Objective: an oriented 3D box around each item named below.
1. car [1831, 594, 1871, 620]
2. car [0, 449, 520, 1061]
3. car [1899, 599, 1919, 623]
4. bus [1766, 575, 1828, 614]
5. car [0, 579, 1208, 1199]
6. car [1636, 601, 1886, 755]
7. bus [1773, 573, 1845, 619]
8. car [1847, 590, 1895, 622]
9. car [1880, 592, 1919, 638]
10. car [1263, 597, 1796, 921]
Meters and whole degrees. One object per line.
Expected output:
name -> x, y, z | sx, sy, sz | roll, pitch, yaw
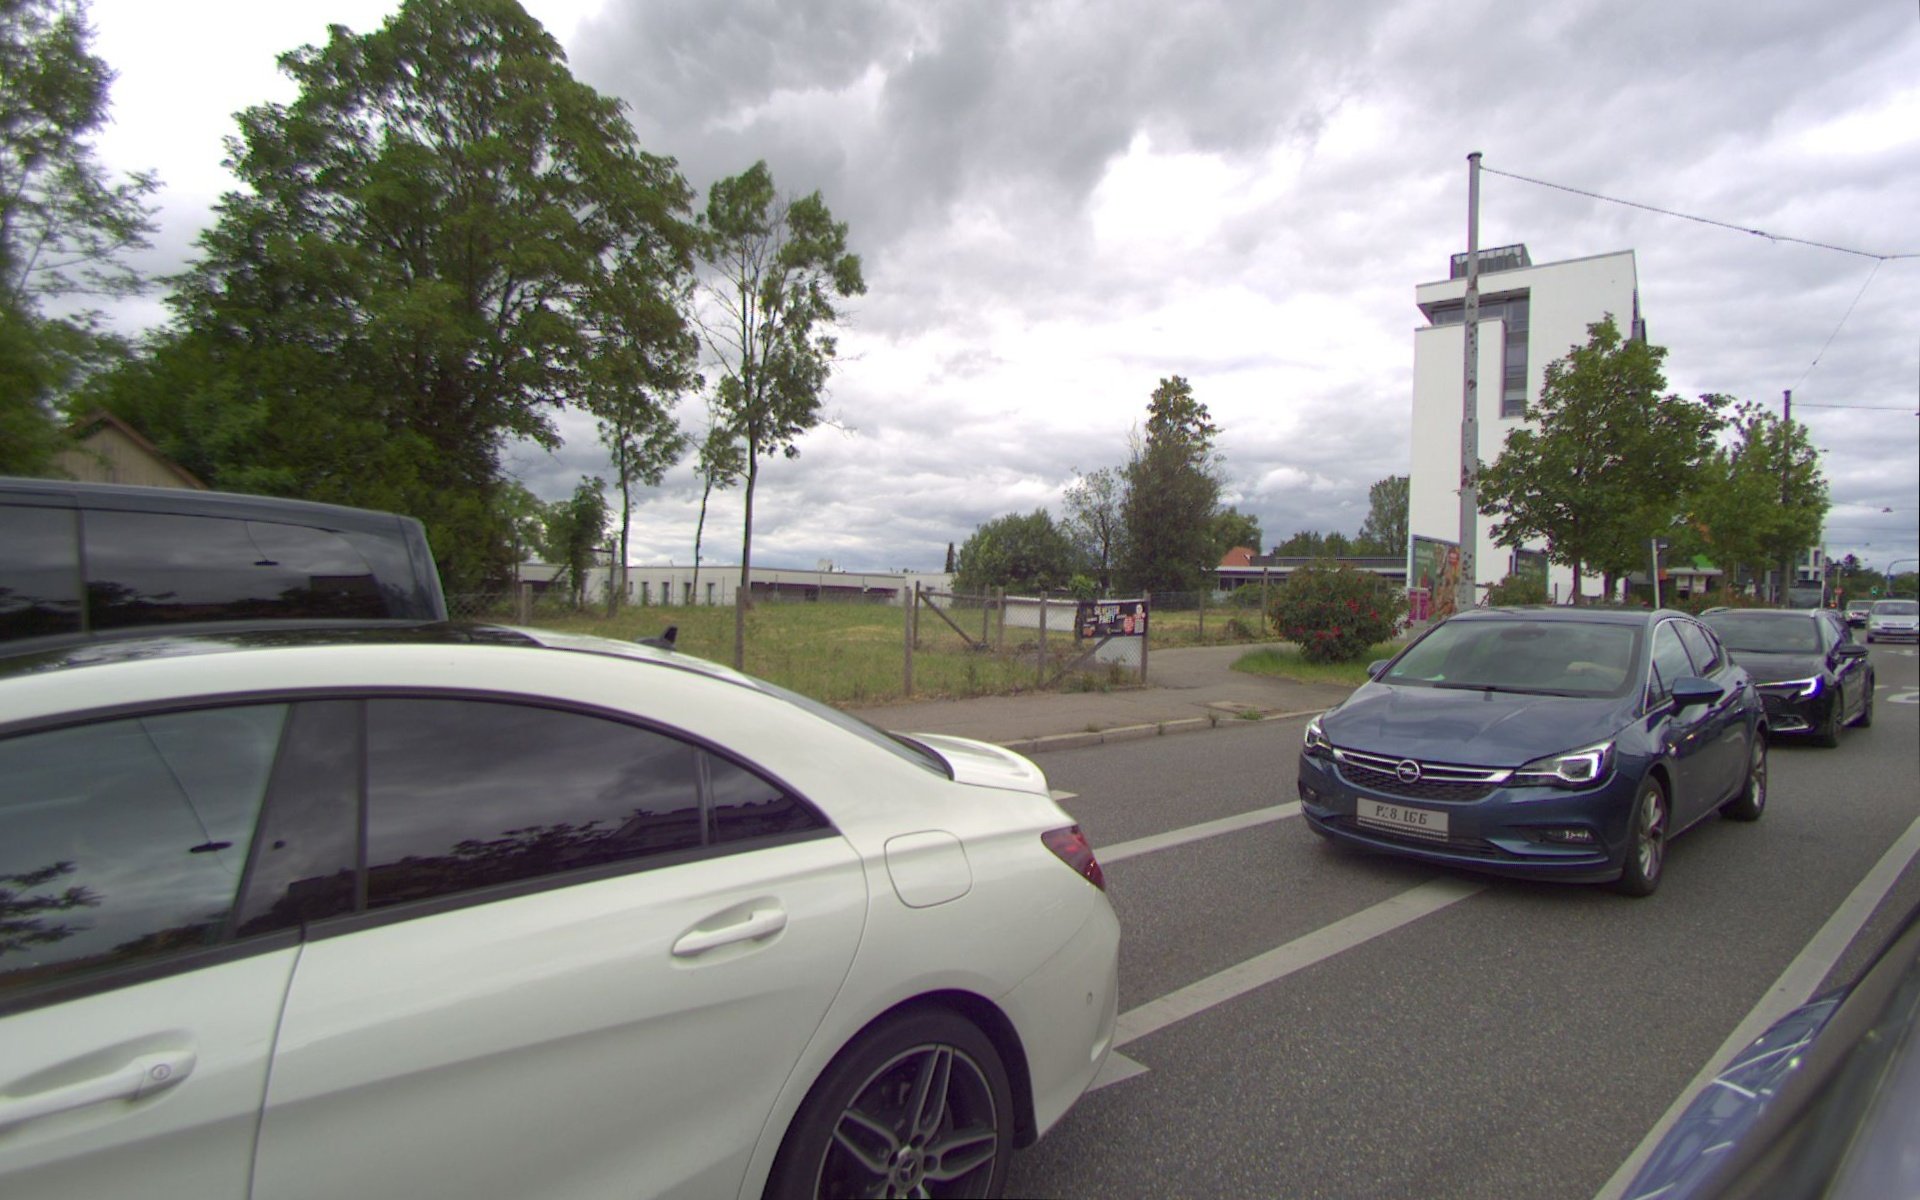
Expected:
car -> 67.376, 0.489, 76.595 | 1.990, 1.844, 3.945 | 2, 2, 38
car -> -4.149, 0.477, 3.308 | 4.627, 1.863, 1.952 | 0, -1, -41
car -> 71.565, 0.822, 75.536 | 1.991, 1.705, 3.941 | -2, -1, 41
bus -> 61.427, -0.428, 74.475 | 2.952, 2.664, 12.751 | 0, 1, 37
car -> -1.533, 0.700, 1.817 | 4.300, 1.451, 1.652 | 0, 1, -41
car -> 9.372, 0.759, 11.740 | 3.854, 1.475, 1.663 | 0, 0, -42
bus -> 53.960, -0.295, 64.575 | 2.952, 2.664, 11.986 | 0, 1, 37
car -> 57.316, 0.367, 63.736 | 1.842, 1.910, 4.081 | -1, -1, 37
car -> 35.542, 0.522, 37.686 | 1.845, 1.637, 3.725 | -1, -1, 42
car -> 3.814, 0.697, 6.484 | 3.931, 1.428, 1.825 | 0, 0, -42
